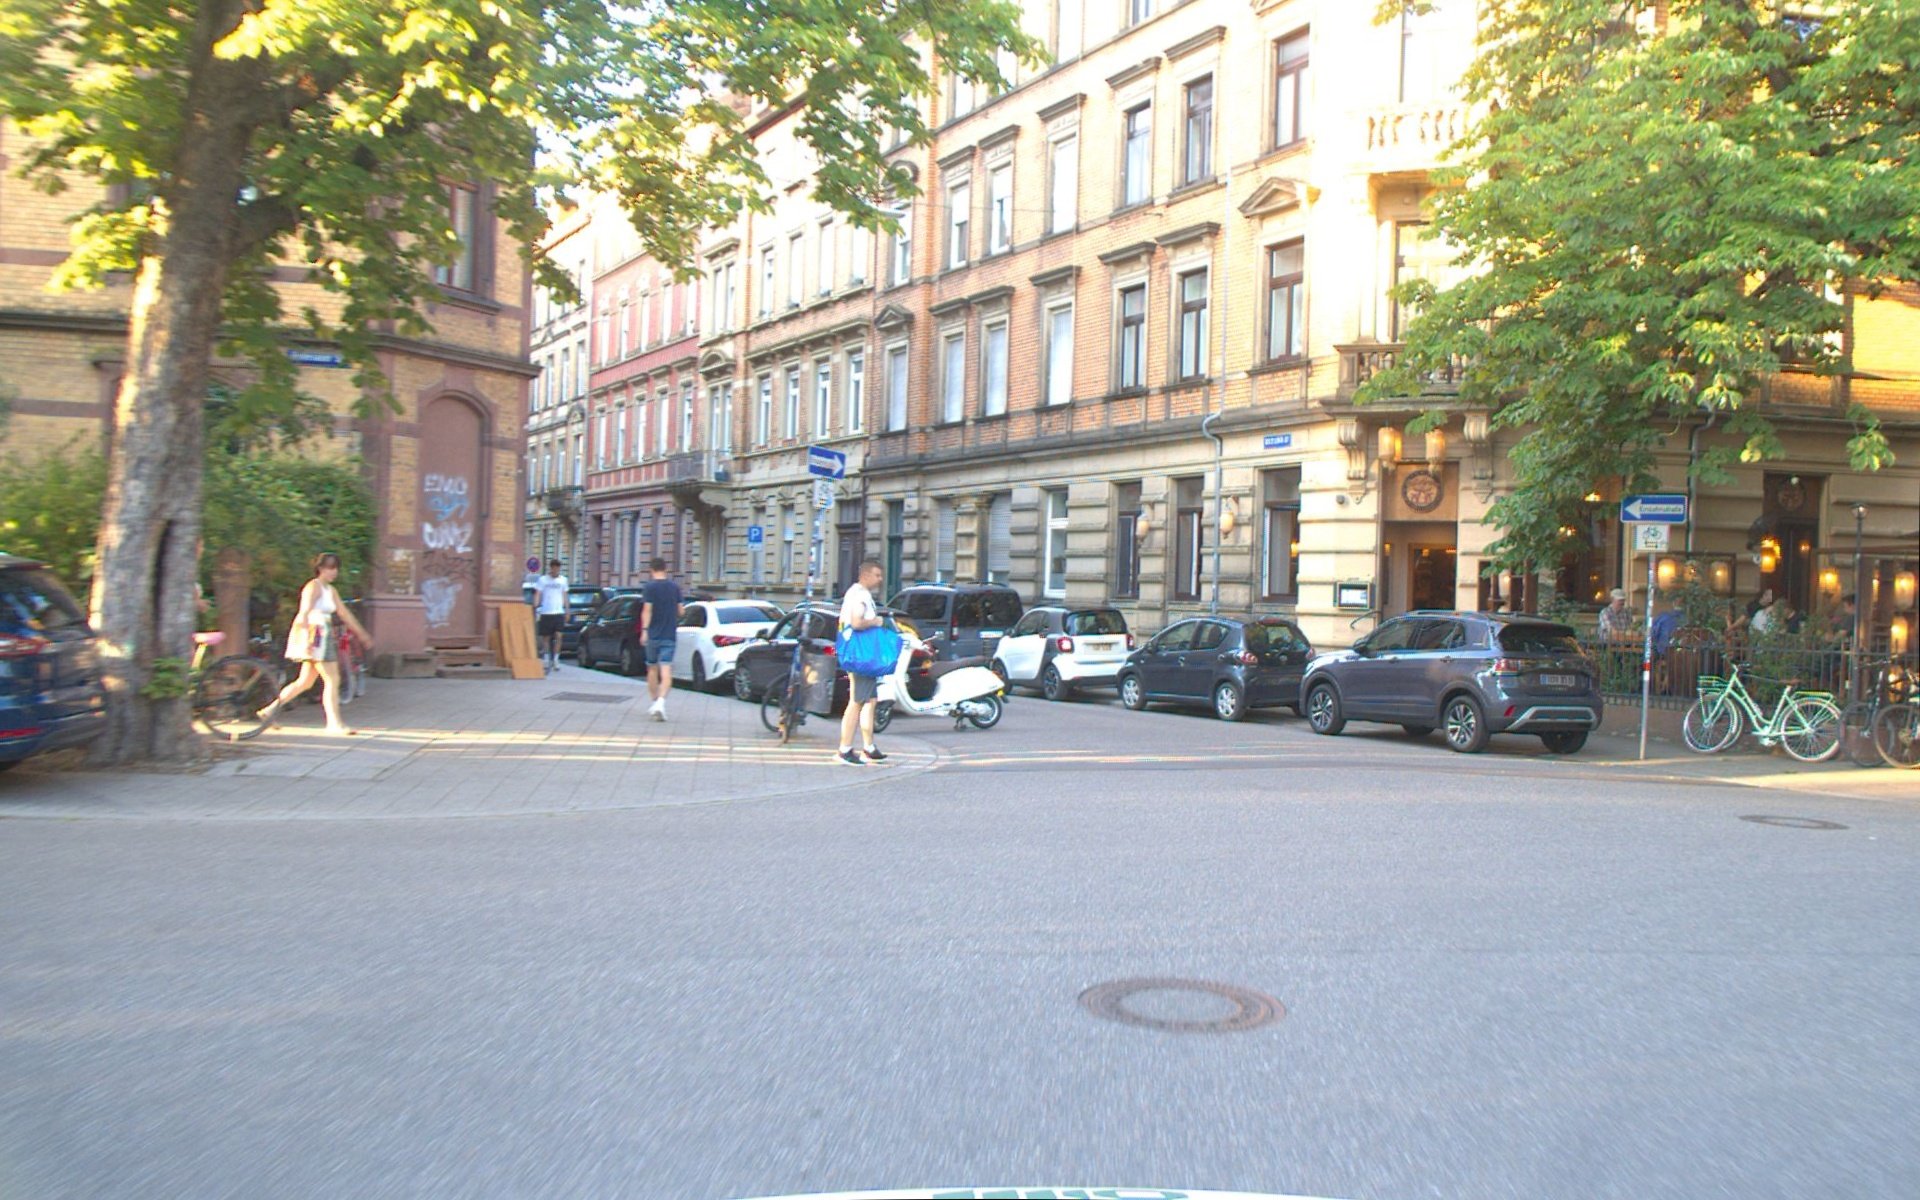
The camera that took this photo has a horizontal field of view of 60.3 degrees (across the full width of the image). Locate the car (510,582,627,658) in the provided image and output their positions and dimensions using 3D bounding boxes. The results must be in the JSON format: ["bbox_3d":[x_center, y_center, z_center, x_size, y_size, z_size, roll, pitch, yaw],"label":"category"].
[{"bbox_3d":[-8.743,0.419,36.725,1.556,1.599,4.082,1,0,-27],"label":"car"}]

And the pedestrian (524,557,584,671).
[{"bbox_3d":[-7.013,0.229,28.552,0.766,1.854,0.920,5,0,-19],"label":"pedestrian"}]

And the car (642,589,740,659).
[{"bbox_3d":[-7.526,0.651,46.089,1.663,1.855,3.456,1,0,-28],"label":"car"}]

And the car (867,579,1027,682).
[{"bbox_3d":[-0.304,0.560,31.770,1.663,1.855,3.456,1,0,-28],"label":"car"}]

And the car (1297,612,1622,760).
[{"bbox_3d":[5.933,0.965,20.087,1.608,1.572,3.825,1,0,-27],"label":"car"}]

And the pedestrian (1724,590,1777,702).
[{"bbox_3d":[11.071,0.641,23.154,0.459,1.546,0.517,1,-1,-39],"label":"pedestrian"}]

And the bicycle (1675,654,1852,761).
[{"bbox_3d":[9.222,1.214,19.028,1.798,1.117,0.390,1,-1,44],"label":"bicycle"}]

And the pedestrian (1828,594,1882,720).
[{"bbox_3d":[10.703,0.672,19.775,0.459,1.476,0.423,1,-1,-39],"label":"pedestrian"}]

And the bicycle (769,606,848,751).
[{"bbox_3d":[-1.580,0.790,17.489,0.506,1.416,1.801,3,0,3],"label":"bicycle"}]

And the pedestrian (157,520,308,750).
[{"bbox_3d":[-6.131,0.299,13.950,0.997,1.867,0.679,3,-1,-34],"label":"pedestrian"}]

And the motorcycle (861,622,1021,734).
[{"bbox_3d":[-0.227,0.917,19.527,1.821,1.279,0.471,1,-1,-11],"label":"motorcycle"}]

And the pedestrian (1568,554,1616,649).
[{"bbox_3d":[9.668,0.021,25.306,0.456,1.437,0.521,1,-1,-22],"label":"pedestrian"}]

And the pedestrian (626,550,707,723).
[{"bbox_3d":[-3.317,0.399,18.739,0.672,1.854,0.792,5,0,-6],"label":"pedestrian"}]

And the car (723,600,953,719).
[{"bbox_3d":[-1.787,0.762,22.985,1.761,1.484,3.982,1,0,-28],"label":"car"}]

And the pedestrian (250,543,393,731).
[{"bbox_3d":[-5.843,0.344,15.142,1.040,1.659,0.679,3,-1,-34],"label":"pedestrian"}]

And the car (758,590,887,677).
[{"bbox_3d":[-3.123,0.713,37.006,1.663,1.855,3.456,1,0,-28],"label":"car"}]

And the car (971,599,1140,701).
[{"bbox_3d":[1.579,0.811,28.349,1.444,1.622,3.305,1,0,-26],"label":"car"}]

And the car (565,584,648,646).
[{"bbox_3d":[-11.037,0.458,51.533,1.663,1.855,3.456,1,0,-28],"label":"car"}]

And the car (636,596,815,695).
[{"bbox_3d":[-3.965,0.697,27.386,1.556,1.484,4.385,1,0,-27],"label":"car"}]

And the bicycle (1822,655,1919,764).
[{"bbox_3d":[10.460,1.208,18.264,1.706,1.164,0.392,1,0,-5],"label":"bicycle"}]

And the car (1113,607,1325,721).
[{"bbox_3d":[3.792,0.903,24.672,1.445,1.484,3.304,1,1,-27],"label":"car"}]

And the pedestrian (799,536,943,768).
[{"bbox_3d":[-0.821,0.473,15.186,0.995,2.049,0.861,3,-1,-28],"label":"pedestrian"}]

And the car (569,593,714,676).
[{"bbox_3d":[-6.190,0.620,31.775,1.556,1.484,4.385,1,0,-27],"label":"car"}]

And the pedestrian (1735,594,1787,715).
[{"bbox_3d":[9.975,0.671,20.596,0.459,1.476,0.423,1,-1,-39],"label":"pedestrian"}]

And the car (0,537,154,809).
[{"bbox_3d":[-8.118,0.382,11.064,4.492,1.717,1.869,2,1,-9],"label":"car"}]
